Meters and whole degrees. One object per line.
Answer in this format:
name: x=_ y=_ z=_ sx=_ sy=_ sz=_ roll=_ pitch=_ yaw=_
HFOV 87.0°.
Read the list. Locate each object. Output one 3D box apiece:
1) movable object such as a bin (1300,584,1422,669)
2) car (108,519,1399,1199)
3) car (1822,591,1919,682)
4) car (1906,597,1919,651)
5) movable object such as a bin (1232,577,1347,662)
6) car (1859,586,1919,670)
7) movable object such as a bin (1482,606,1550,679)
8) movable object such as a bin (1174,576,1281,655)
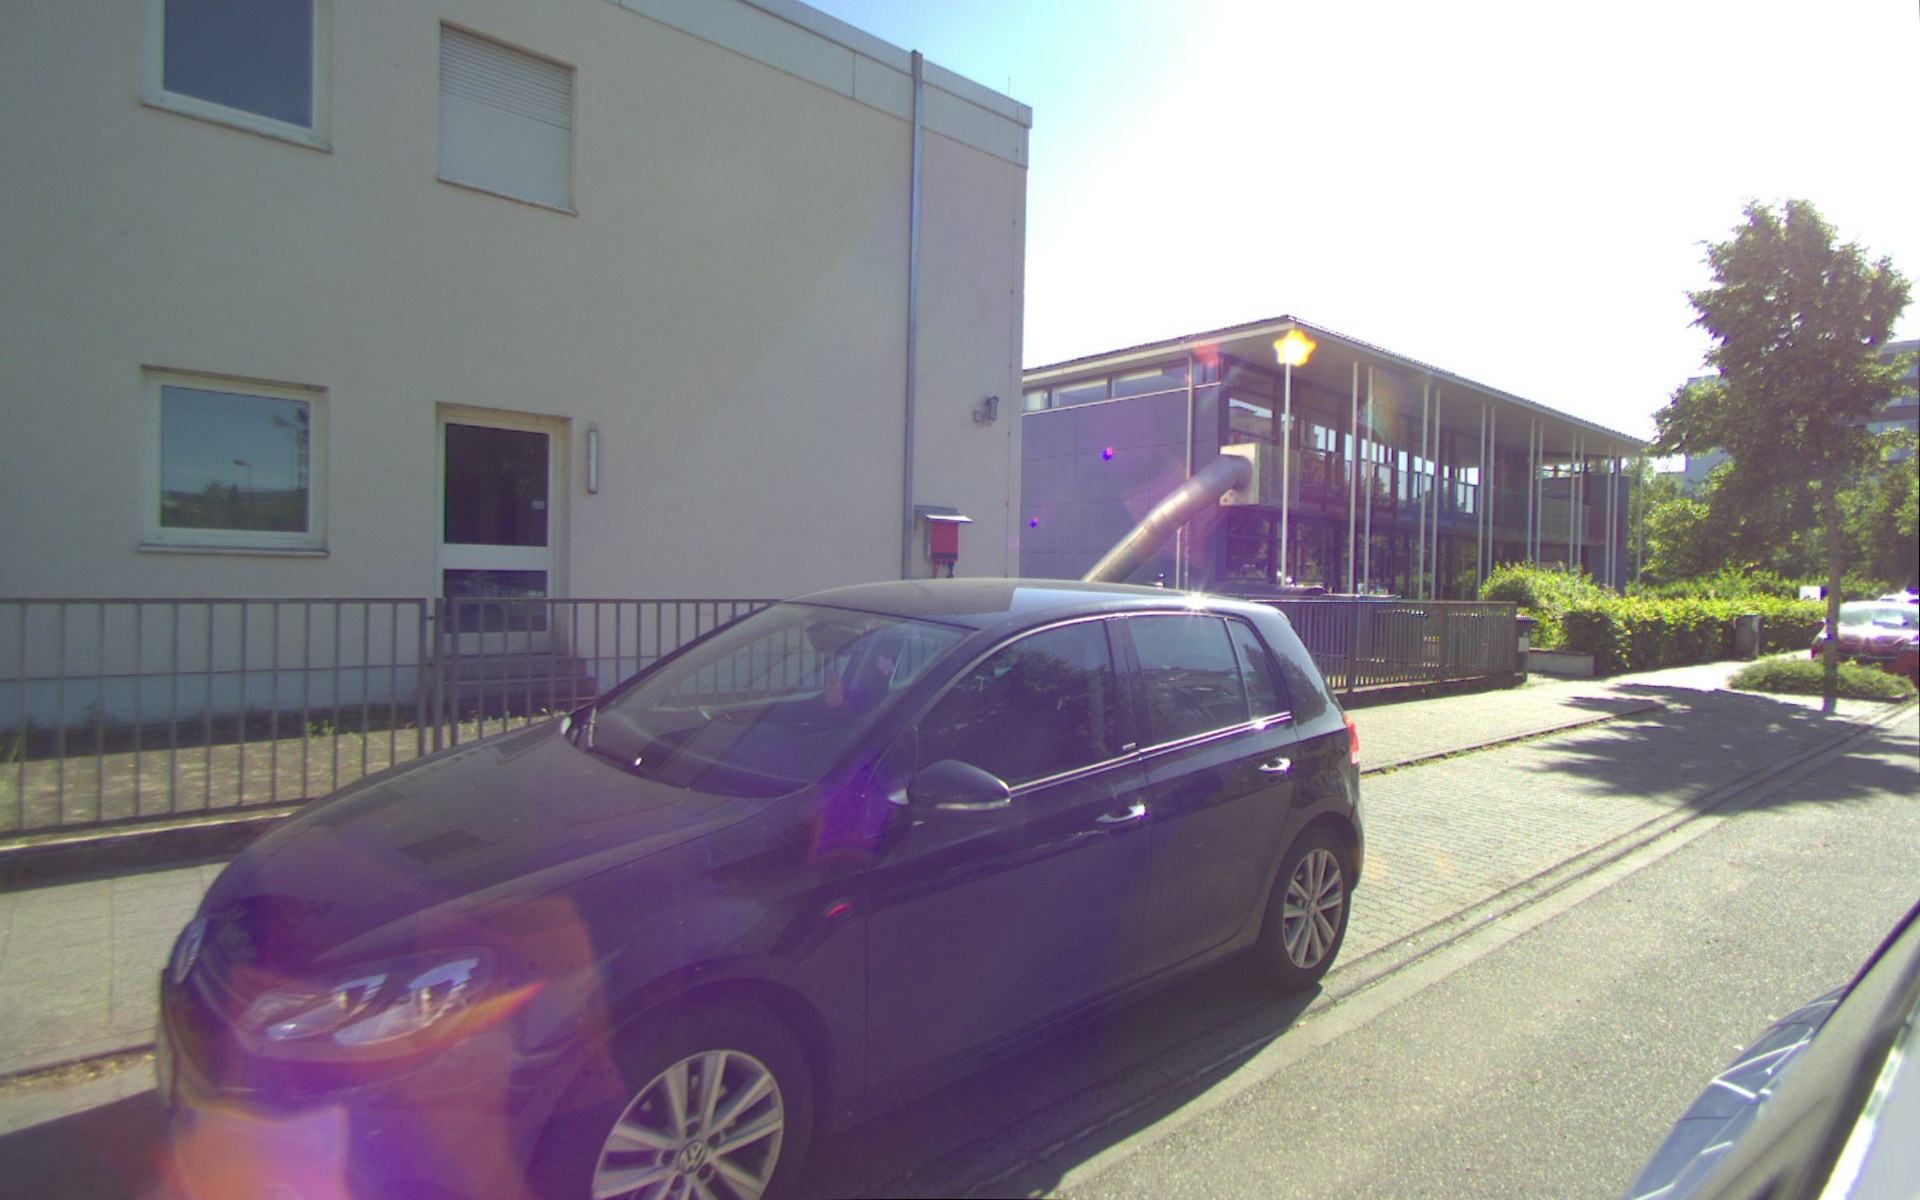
movable object such as a bin: x=7.002 y=0.421 z=17.677 sx=1.602 sy=1.374 sz=1.369 roll=0 pitch=1 yaw=-40
car: x=-0.285 y=0.627 z=3.436 sx=3.932 sy=1.535 sz=1.786 roll=0 pitch=2 yaw=-42
car: x=17.663 y=0.640 z=19.032 sx=3.780 sy=1.522 sz=1.678 roll=0 pitch=2 yaw=-42
car: x=26.845 y=0.667 z=27.085 sx=4.697 sy=1.335 sz=1.965 roll=-1 pitch=4 yaw=-44
movable object such as a bin: x=6.129 y=0.331 z=18.811 sx=1.602 sy=1.466 sz=1.369 roll=0 pitch=1 yaw=-40
car: x=21.775 y=0.601 z=22.579 sx=4.333 sy=1.703 sz=1.905 roll=0 pitch=3 yaw=-40
movable object such as a bin: x=8.658 y=0.641 z=15.753 sx=0.962 sy=1.083 sz=0.633 roll=-1 pitch=1 yaw=-41
movable object such as a bin: x=5.259 y=0.275 z=19.899 sx=1.602 sy=1.466 sz=1.333 roll=0 pitch=1 yaw=-40
